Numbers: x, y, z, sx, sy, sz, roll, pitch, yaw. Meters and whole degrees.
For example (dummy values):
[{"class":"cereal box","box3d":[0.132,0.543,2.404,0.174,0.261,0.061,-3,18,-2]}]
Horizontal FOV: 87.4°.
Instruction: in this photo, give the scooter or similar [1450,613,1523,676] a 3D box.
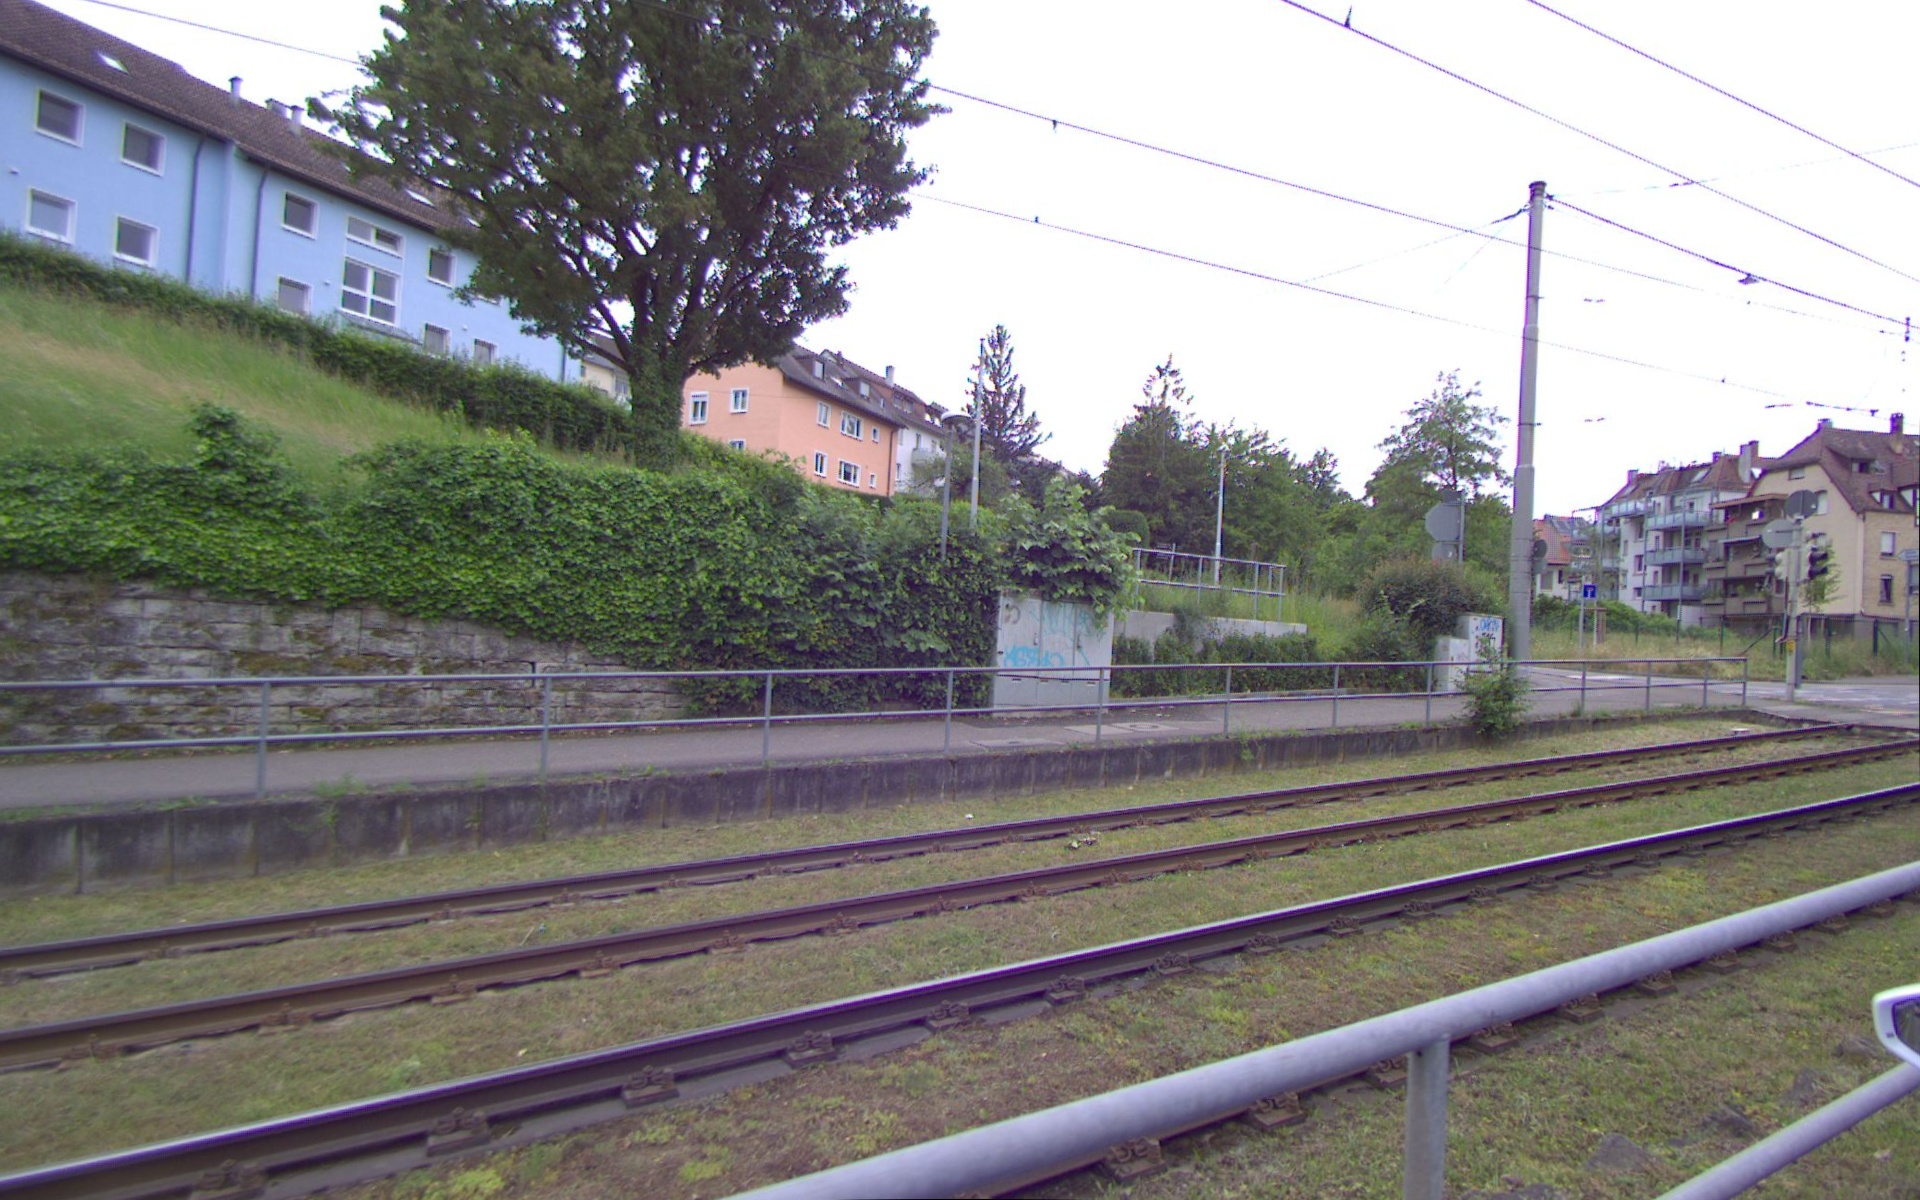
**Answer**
[{"class":"scooter or similar","box3d":[12.097,1.010,23.116,0.413,1.306,1.402,2,3,-29]}]

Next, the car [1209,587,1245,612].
[{"class":"car","box3d":[17.772,0.001,67.073,1.942,1.531,4.135,2,-1,10]}]
